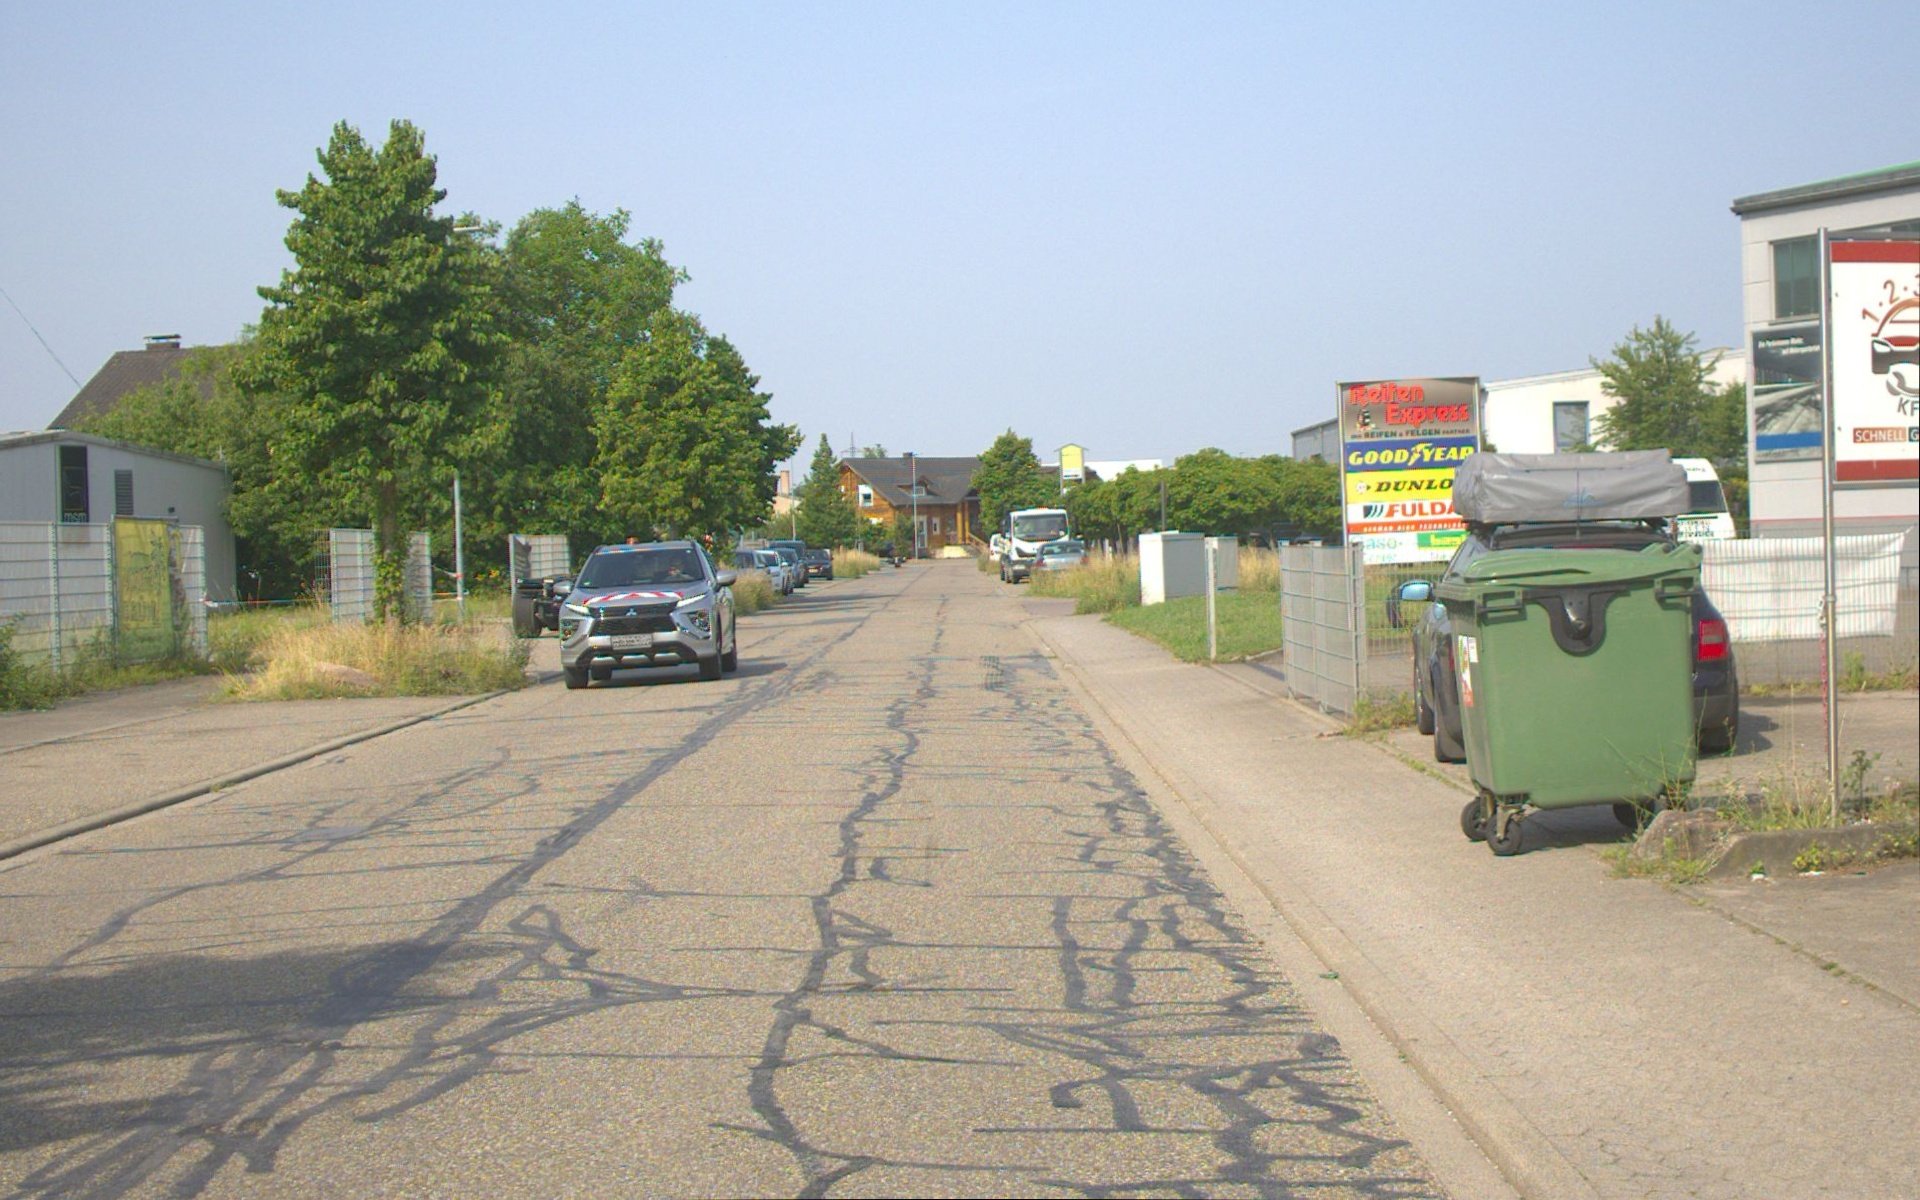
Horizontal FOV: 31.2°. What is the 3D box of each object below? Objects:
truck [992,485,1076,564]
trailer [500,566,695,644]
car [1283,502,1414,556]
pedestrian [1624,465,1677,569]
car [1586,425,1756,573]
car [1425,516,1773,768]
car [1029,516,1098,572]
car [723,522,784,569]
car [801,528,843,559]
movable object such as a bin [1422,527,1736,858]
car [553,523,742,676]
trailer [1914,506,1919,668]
[{"bbox_3d":[2.613,-2.716,123.358,2.359,2.672,6.512,-2,1,-3],"label":"truck"},{"bbox_3d":[-6.426,0.037,62.260,2.582,1.180,9.364,0,1,0],"label":"trailer"},{"bbox_3d":[12.657,-2.328,111.846,4.522,1.583,1.686,-4,2,-44],"label":"car"},{"bbox_3d":[11.024,-1.327,54.888,0.703,1.634,0.748,-2,1,17],"label":"pedestrian"},{"bbox_3d":[13.793,-1.952,67.010,1.974,2.696,5.881,-2,1,0],"label":"car"},{"bbox_3d":[3.907,0.185,21.636,1.674,1.364,4.393,-2,1,5],"label":"car"},{"bbox_3d":[2.984,-1.630,99.887,1.794,1.512,4.424,-2,1,0],"label":"car"},{"bbox_3d":[-6.605,-1.750,110.168,1.683,1.464,4.254,-1,1,0],"label":"car"},{"bbox_3d":[-6.387,-2.614,159.184,1.800,1.382,3.638,0,1,-1],"label":"car"},{"bbox_3d":[2.779,0.383,15.622,1.081,1.348,1.506,-4,1,1],"label":"movable object such as a bin"},{"bbox_3d":[-3.612,-0.048,40.426,1.811,1.621,4.250,-3,1,-1],"label":"car"},{"bbox_3d":[8.656,-0.093,25.419,1.490,1.244,2.978,-1,1,-26],"label":"trailer"}]
